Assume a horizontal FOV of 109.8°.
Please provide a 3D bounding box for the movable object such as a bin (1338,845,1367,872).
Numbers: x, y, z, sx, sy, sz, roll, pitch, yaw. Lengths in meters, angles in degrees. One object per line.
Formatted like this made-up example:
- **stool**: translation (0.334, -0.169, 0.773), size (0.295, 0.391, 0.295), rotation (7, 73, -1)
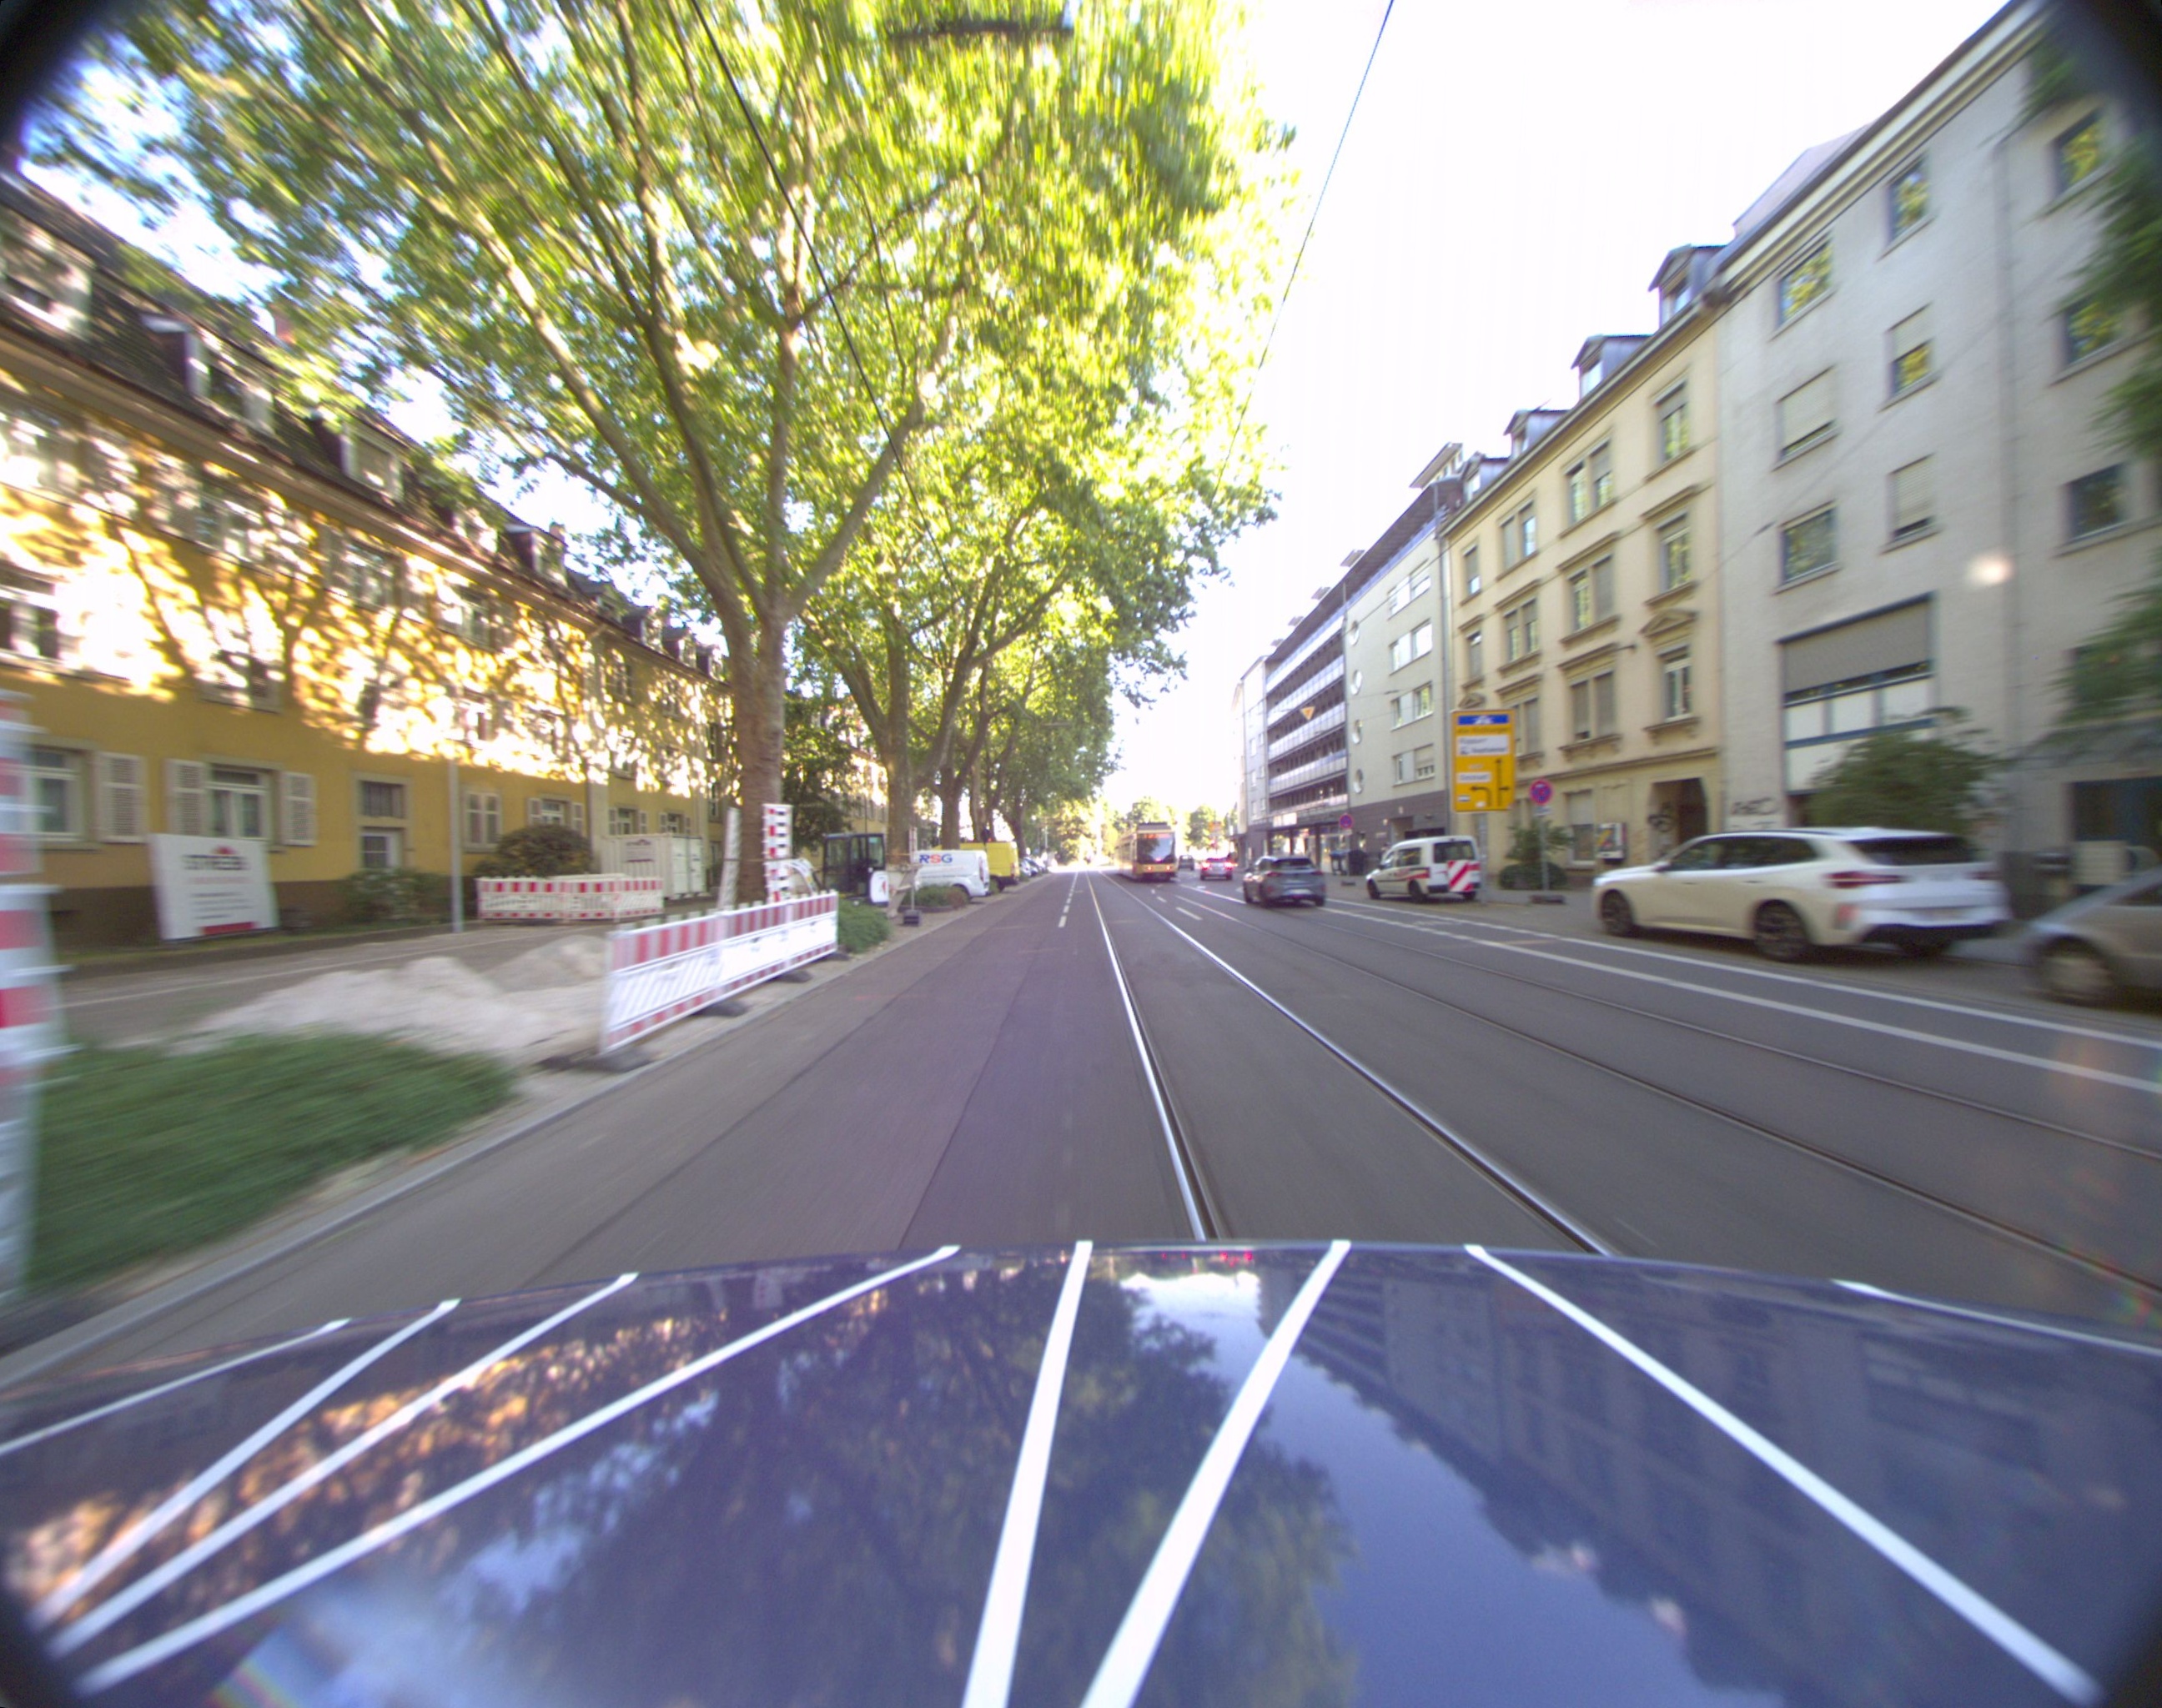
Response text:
- **movable object such as a bin**: translation (14.893, 0.259, 41.745), size (1.059, 1.442, 1.210), rotation (-2, 0, -4)

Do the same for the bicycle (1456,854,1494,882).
- **bicycle**: translation (14.688, 0.512, 28.387), size (0.648, 0.965, 2.140), rotation (-3, 0, 11)

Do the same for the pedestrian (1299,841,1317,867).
- **pedestrian**: translation (15.397, -0.013, 51.531), size (0.789, 1.703, 0.820), rotation (-5, 1, 0)

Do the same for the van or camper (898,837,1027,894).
- **van or camper**: translation (-5.803, 0.522, 37.847), size (5.940, 2.614, 2.270), rotation (-1, 2, 2)

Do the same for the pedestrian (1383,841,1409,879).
- **pedestrian**: translation (13.802, 0.252, 33.325), size (0.729, 1.623, 0.687), rotation (-4, 1, -1)

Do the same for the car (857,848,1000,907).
- **car**: translation (-5.561, 0.844, 28.190), size (4.847, 2.001, 2.063), rotation (-1, 0, 0)

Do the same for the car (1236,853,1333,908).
- **car**: translation (5.834, 0.694, 22.269), size (1.800, 1.437, 4.052), rotation (-1, 0, 0)

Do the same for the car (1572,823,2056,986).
- **car**: translation (9.488, 0.517, 10.627), size (1.957, 1.639, 4.880), rotation (-3, 1, -1)

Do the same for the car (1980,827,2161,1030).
- **car**: translation (9.477, 0.599, 5.431), size (1.630, 1.563, 3.781), rotation (-3, 1, 1)

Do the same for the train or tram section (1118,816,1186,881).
- **train or tram section**: translation (4.251, -0.332, 48.783), size (2.916, 3.465, 14.197), rotation (-2, 0, 0)

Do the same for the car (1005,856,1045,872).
- **car**: translation (-5.498, 0.962, 75.055), size (3.891, 1.488, 1.741), rotation (-1, 0, -3)

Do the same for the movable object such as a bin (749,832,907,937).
- **movable object such as a bin**: translation (-5.929, 0.650, 18.096), size (1.482, 2.256, 3.283), rotation (-2, 0, 34)

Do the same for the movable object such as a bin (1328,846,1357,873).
- **movable object such as a bin**: translation (14.794, 0.310, 42.976), size (1.142, 1.442, 1.213), rotation (-2, 0, -4)

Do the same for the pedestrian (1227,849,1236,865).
- **pedestrian**: translation (16.652, 0.334, 83.985), size (0.715, 1.664, 0.905), rotation (-2, 1, 24)

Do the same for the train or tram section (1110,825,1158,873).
- **train or tram section**: translation (4.172, -0.409, 62.587), size (2.916, 3.465, 13.368), rotation (-2, 0, 0)

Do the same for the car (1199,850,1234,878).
- **car**: translation (8.098, 0.537, 45.665), size (1.799, 1.438, 4.717), rotation (-1, 2, 7)

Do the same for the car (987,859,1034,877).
- **car**: translation (-5.793, 1.137, 62.999), size (3.660, 1.416, 1.866), rotation (1, 0, 1)

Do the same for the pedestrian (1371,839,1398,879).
- **pedestrian**: translation (13.876, 0.219, 34.741), size (0.866, 1.774, 0.736), rotation (-4, 1, -1)

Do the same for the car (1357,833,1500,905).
- **car**: translation (9.717, 0.388, 21.708), size (1.793, 1.760, 4.470), rotation (-3, 0, -3)

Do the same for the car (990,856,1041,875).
- **car**: translation (-5.836, 0.999, 68.491), size (4.437, 1.648, 1.908), rotation (-1, 1, -1)

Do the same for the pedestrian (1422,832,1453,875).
- **pedestrian**: translation (15.766, -0.021, 33.619), size (0.965, 1.803, 0.729), rotation (-4, 1, 1)

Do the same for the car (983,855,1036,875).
- **car**: translation (-6.218, 0.963, 66.160), size (4.318, 1.721, 1.841), rotation (0, 0, 4)

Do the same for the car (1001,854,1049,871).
- **car**: translation (-6.105, 0.925, 82.915), size (5.126, 1.845, 1.914), rotation (0, 1, 0)
